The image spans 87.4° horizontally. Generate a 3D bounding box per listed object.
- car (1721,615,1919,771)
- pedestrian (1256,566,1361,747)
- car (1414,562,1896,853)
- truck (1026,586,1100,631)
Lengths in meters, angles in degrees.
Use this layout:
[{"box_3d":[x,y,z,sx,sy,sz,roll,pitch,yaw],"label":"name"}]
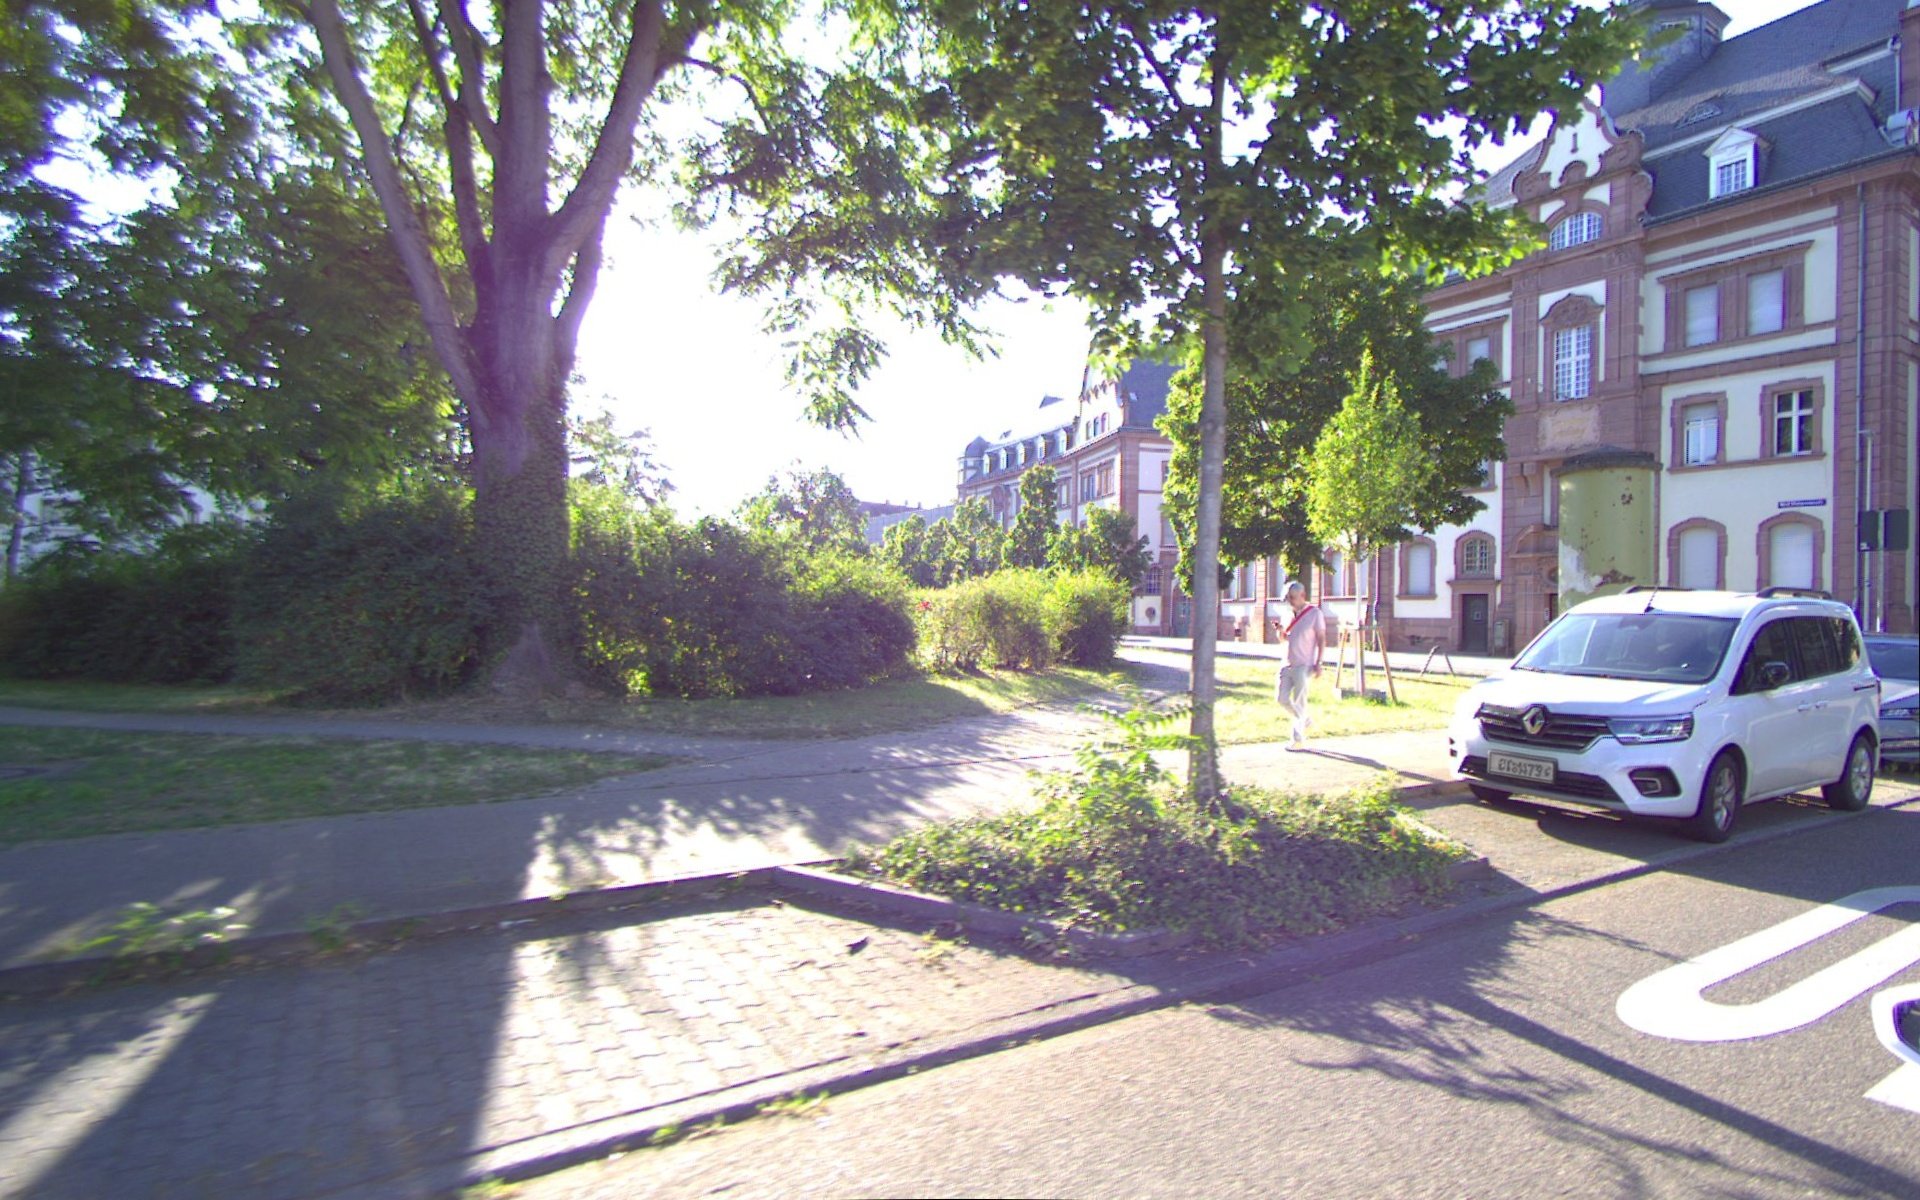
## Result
[{"box_3d":[11.115,1.000,11.988,4.503,1.525,1.771,2,0,-32],"label":"car"},{"box_3d":[3.659,0.573,10.542,0.937,1.808,0.595,1,0,-36],"label":"pedestrian"},{"box_3d":[5.957,0.731,8.435,4.504,1.865,1.770,1,0,-33],"label":"car"},{"box_3d":[7.509,0.596,74.305,2.570,3.069,7.980,1,0,-17],"label":"truck"}]
